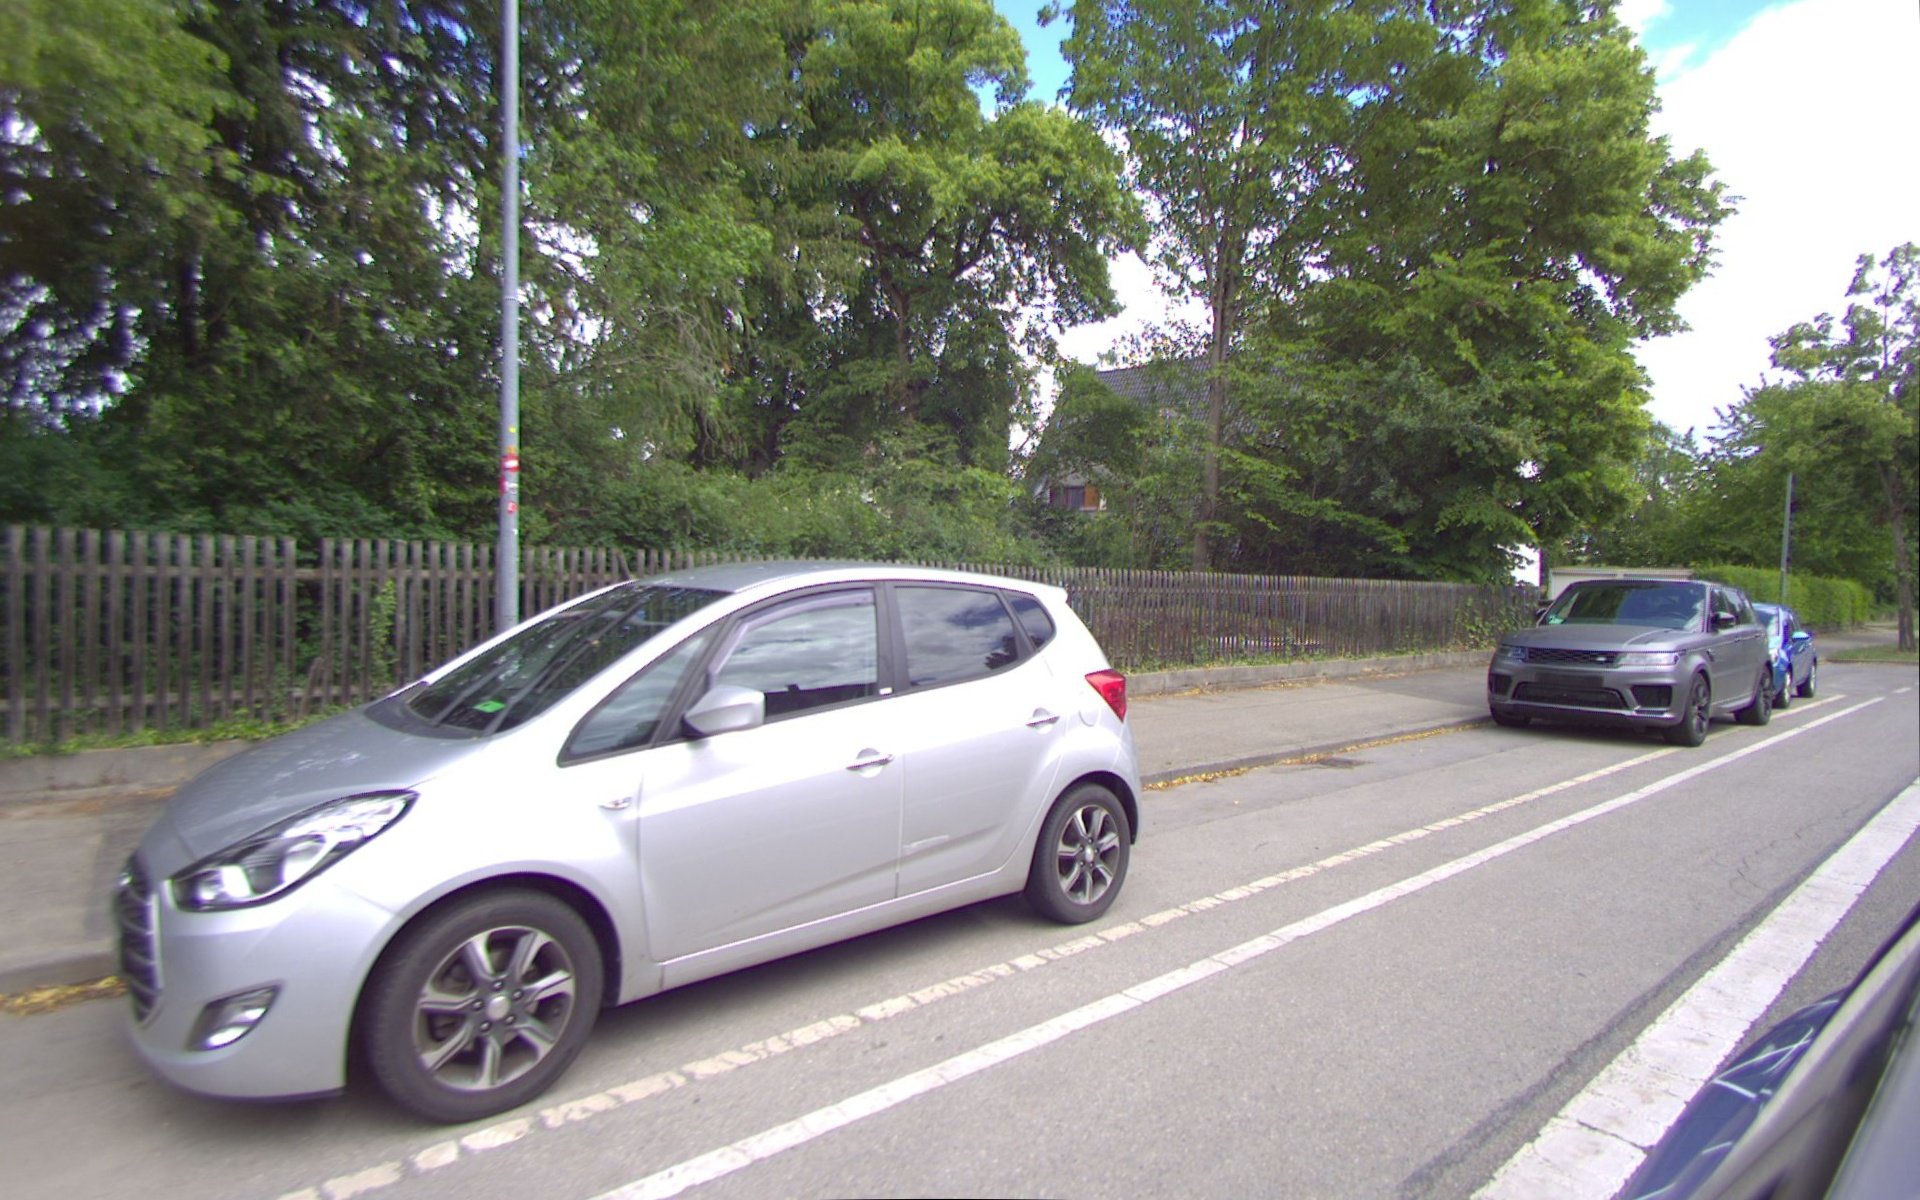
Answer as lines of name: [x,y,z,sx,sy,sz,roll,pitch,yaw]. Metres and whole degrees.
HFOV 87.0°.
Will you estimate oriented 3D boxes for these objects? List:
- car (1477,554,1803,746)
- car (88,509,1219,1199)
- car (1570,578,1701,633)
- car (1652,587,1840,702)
car: [8.168,0.431,11.971,4.742,1.838,1.997,-1,2,-40]
car: [-0.899,0.573,4.405,4.346,1.609,1.865,0,1,-43]
car: [20.702,0.162,31.034,3.151,1.587,1.655,1,2,-16]
car: [12.129,0.574,15.536,3.855,1.520,1.687,-1,2,-43]
